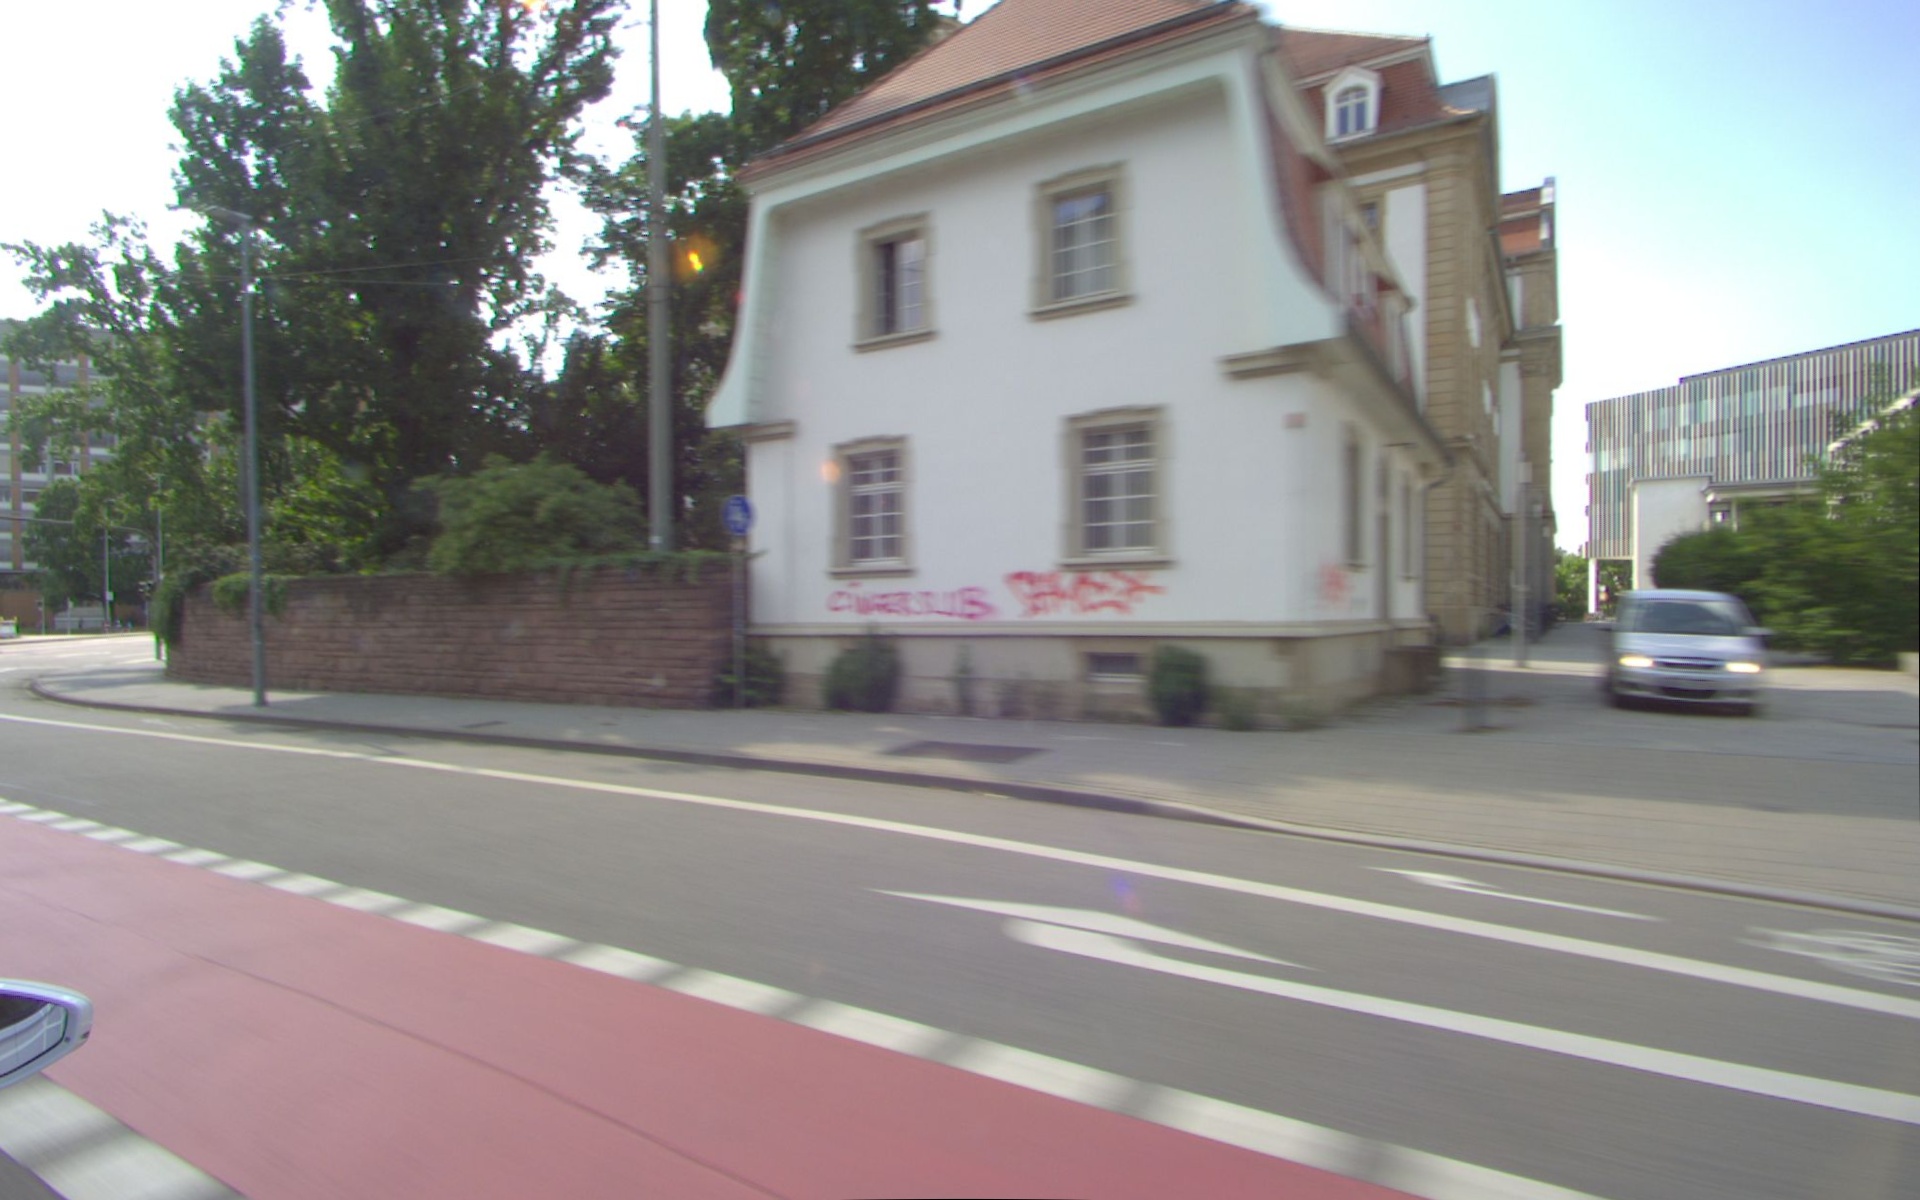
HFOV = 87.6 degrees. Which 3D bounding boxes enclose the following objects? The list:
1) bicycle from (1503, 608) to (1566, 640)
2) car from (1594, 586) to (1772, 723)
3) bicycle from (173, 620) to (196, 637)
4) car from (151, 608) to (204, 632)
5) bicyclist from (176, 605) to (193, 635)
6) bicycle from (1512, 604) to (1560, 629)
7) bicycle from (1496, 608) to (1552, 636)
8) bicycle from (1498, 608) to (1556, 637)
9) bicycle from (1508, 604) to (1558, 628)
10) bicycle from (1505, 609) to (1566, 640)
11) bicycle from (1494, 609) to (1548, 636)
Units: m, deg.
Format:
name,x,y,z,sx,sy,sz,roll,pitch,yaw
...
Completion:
name,x,y,z,sx,sy,sz,roll,pitch,yaw
bicycle,19.362,0.789,33.784,1.791,1.031,0.698,0,1,28
car,10.032,0.661,14.146,1.640,1.626,3.873,2,1,31
bicycle,-52.423,1.904,67.675,0.711,1.098,2.182,0,1,-24
car,-58.275,1.477,74.683,2.103,1.705,4.088,2,-1,-24
bicyclist,-52.433,1.345,67.690,0.709,2.000,0.836,0,1,-24
bicycle,24.974,0.709,43.446,1.791,1.031,0.698,0,1,28
bicycle,21.046,0.807,37.383,1.791,1.031,0.698,0,1,28
bicycle,20.555,0.805,36.353,1.791,1.031,0.698,0,1,28
bicycle,24.427,0.677,42.728,1.791,1.031,0.698,0,1,28
bicycle,19.759,0.843,34.427,1.791,1.031,0.698,0,1,28
bicycle,21.740,0.855,38.814,1.791,1.031,0.698,0,1,28
